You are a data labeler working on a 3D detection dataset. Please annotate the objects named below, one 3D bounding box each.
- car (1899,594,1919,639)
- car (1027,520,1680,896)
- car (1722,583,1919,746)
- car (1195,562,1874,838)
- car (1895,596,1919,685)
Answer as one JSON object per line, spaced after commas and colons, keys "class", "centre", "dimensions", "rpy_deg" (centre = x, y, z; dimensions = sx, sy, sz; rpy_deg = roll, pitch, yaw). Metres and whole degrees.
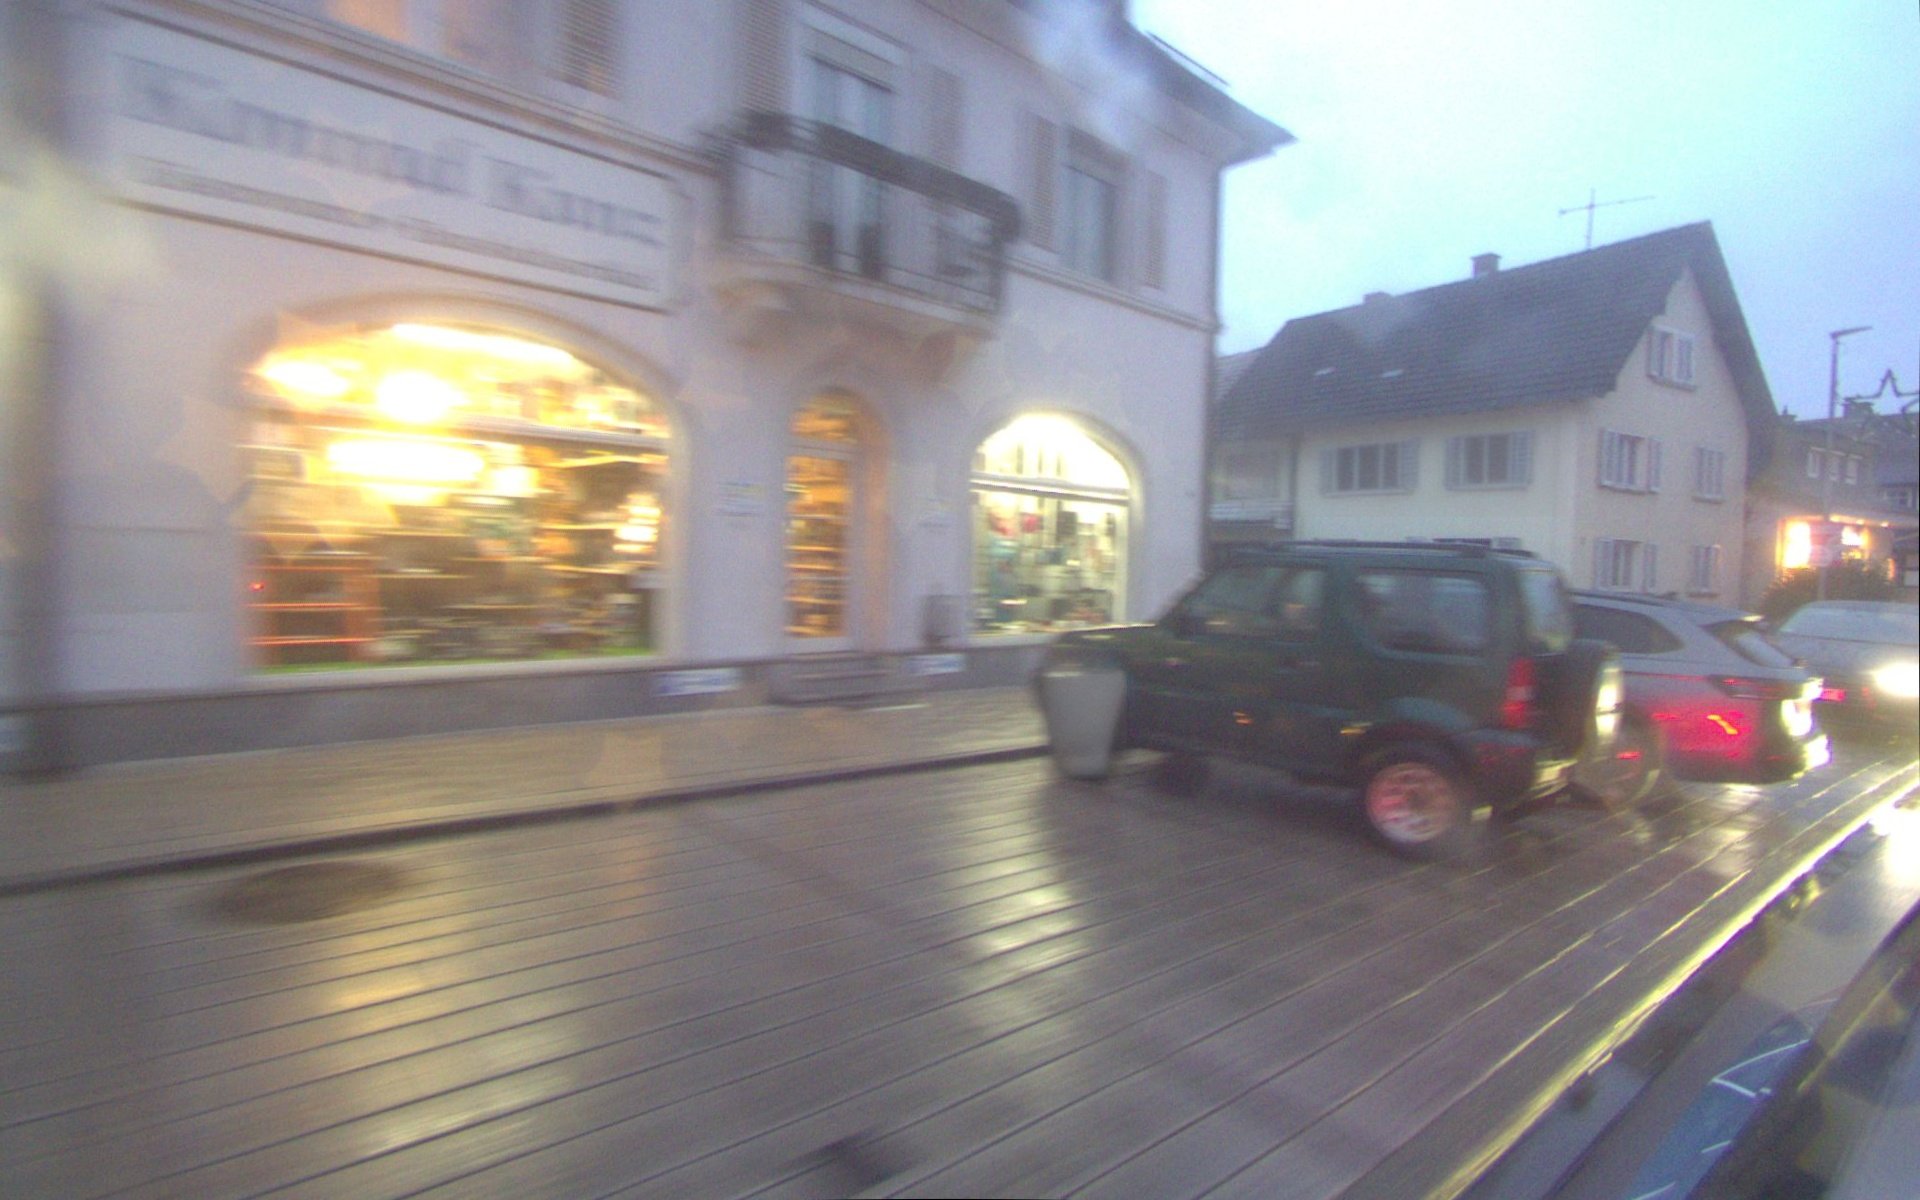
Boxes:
{"class": "car", "centre": [33.099, 0.674, 32.948], "dimensions": [1.654, 1.457, 3.305], "rpy_deg": [0, 6, -33]}
{"class": "car", "centre": [2.348, 0.415, 6.583], "dimensions": [3.507, 1.701, 1.688], "rpy_deg": [6, 4, 45]}
{"class": "car", "centre": [11.071, 0.667, 12.177], "dimensions": [4.586, 1.565, 1.888], "rpy_deg": [1, 3, -39]}
{"class": "car", "centre": [4.396, 0.544, 8.383], "dimensions": [1.865, 1.491, 4.476], "rpy_deg": [1, 3, -41]}
{"class": "car", "centre": [18.180, 0.739, 17.673], "dimensions": [4.445, 1.478, 1.801], "rpy_deg": [0, 4, -36]}
